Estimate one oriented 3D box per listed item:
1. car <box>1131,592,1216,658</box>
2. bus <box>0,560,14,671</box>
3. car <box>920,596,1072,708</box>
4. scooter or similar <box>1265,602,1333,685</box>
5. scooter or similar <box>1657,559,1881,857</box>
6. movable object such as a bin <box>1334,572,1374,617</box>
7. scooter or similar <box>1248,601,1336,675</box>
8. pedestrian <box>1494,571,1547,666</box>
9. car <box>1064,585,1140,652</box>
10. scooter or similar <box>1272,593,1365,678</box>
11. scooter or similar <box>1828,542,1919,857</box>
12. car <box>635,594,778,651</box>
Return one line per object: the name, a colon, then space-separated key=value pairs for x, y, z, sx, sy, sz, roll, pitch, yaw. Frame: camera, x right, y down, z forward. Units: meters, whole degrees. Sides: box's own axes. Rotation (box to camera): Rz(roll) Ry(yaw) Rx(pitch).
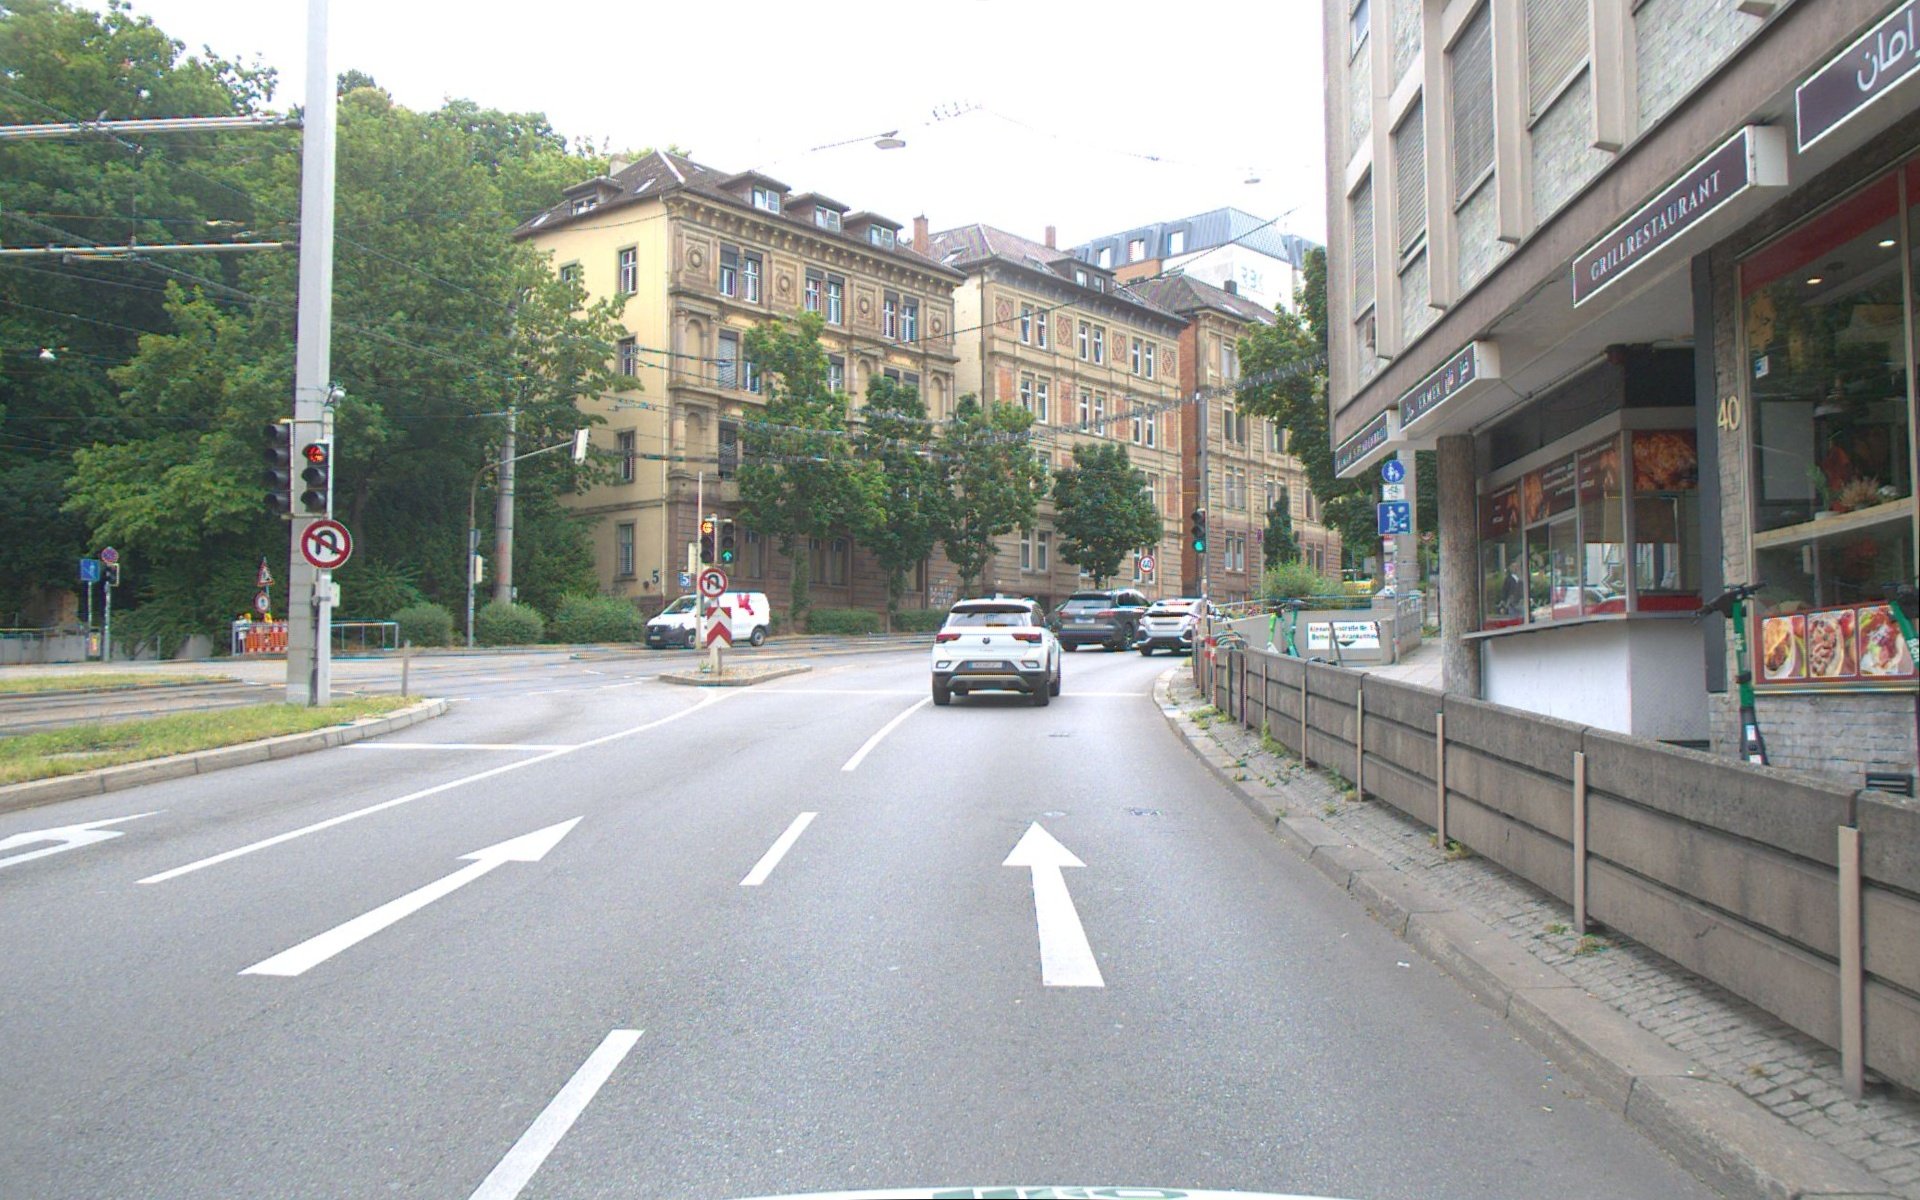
car: x=5.643 y=0.664 z=43.340 sx=1.862 sy=1.601 sz=3.837 roll=1 pitch=-1 yaw=13
bus: x=-32.286 y=0.499 z=45.249 sx=11.266 sy=3.082 sz=3.392 roll=-1 pitch=0 yaw=6
car: x=0.651 y=0.767 z=25.846 sx=1.897 sy=1.594 sz=4.049 roll=0 pitch=-1 yaw=8
scooter or similar: x=5.070 y=0.640 z=24.723 sx=0.996 sy=1.203 sz=0.373 roll=0 pitch=-1 yaw=-29
scooter or similar: x=4.340 y=0.549 z=8.953 sx=0.654 sy=1.501 sz=1.179 roll=0 pitch=-1 yaw=2
movable object such as a bin: x=26.428 y=-0.351 z=110.931 sx=1.958 sy=2.888 sz=2.024 roll=-3 pitch=-2 yaw=33
scooter or similar: x=5.591 y=0.632 z=27.838 sx=1.425 sy=1.203 sz=0.577 roll=0 pitch=-1 yaw=-29
pedestrian: x=11.438 y=0.371 z=33.735 sx=0.817 sy=1.841 sz=1.150 roll=4 pitch=1 yaw=24
car: x=4.028 y=0.475 z=46.495 sx=1.800 sy=1.770 sz=4.004 roll=0 pitch=1 yaw=10
scooter or similar: x=5.695 y=0.555 z=26.255 sx=1.425 sy=1.276 sz=0.551 roll=-2 pitch=0 yaw=-29
scooter or similar: x=4.192 y=0.402 z=6.755 sx=0.617 sy=1.271 sz=1.333 roll=0 pitch=0 yaw=2
car: x=-8.848 y=0.794 z=58.076 sx=1.962 sy=1.882 sz=4.969 roll=-3 pitch=-3 yaw=38
